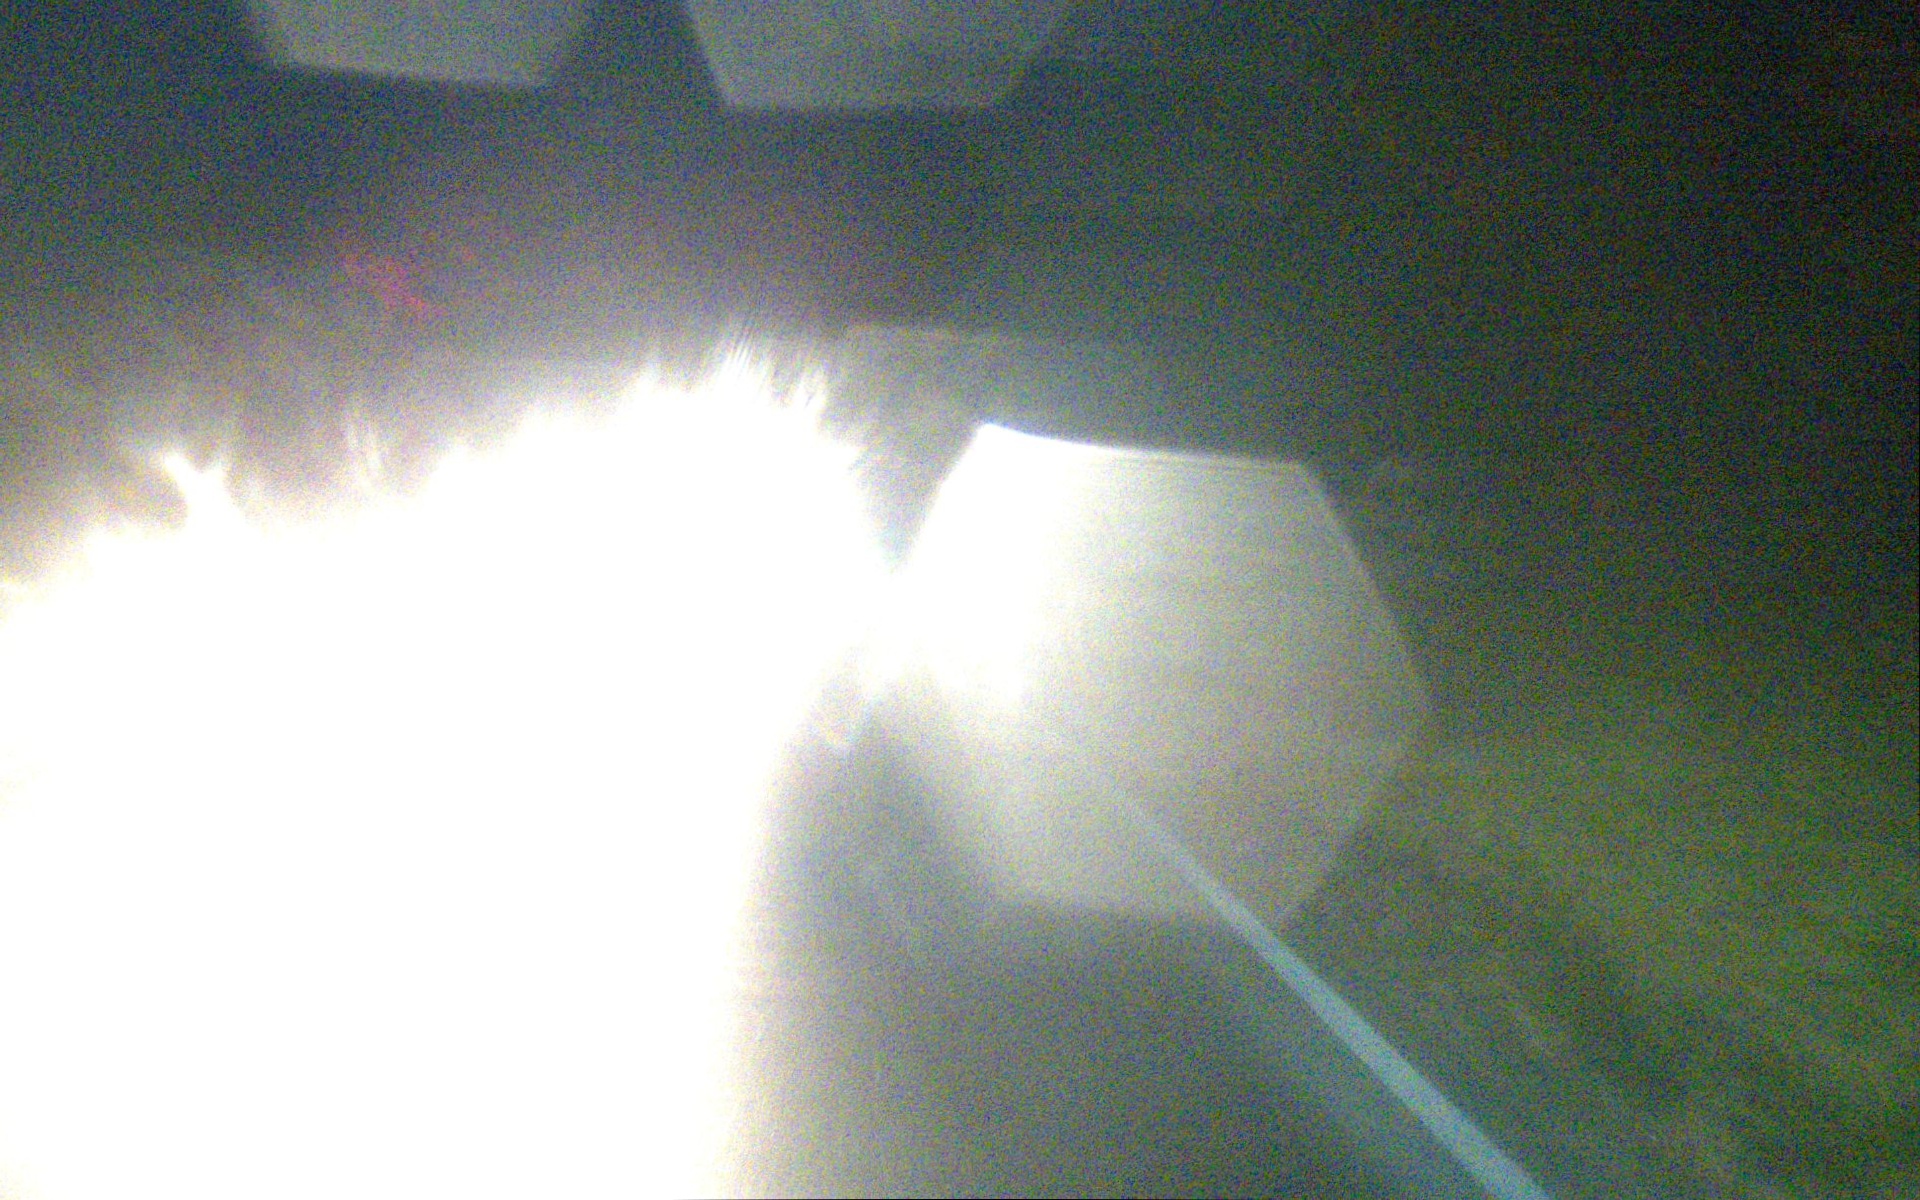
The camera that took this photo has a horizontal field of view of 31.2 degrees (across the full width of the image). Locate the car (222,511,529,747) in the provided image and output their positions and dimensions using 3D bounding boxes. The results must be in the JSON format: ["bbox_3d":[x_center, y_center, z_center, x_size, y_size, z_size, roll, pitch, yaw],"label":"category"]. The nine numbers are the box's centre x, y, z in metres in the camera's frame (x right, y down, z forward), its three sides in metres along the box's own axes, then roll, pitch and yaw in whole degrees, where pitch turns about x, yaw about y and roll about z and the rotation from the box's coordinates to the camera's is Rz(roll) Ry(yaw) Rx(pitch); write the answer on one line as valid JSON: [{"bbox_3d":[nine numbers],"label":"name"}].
[{"bbox_3d":[-4.472,0.181,26.894,1.654,1.677,4.520,1,1,0],"label":"car"}]

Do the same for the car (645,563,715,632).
[{"bbox_3d":[-7.044,-0.078,86.663,1.483,1.610,3.561,3,1,-1],"label":"car"}]

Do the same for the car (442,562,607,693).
[{"bbox_3d":[-5.293,0.299,42.165,1.692,1.514,3.863,1,1,-3],"label":"car"}]
